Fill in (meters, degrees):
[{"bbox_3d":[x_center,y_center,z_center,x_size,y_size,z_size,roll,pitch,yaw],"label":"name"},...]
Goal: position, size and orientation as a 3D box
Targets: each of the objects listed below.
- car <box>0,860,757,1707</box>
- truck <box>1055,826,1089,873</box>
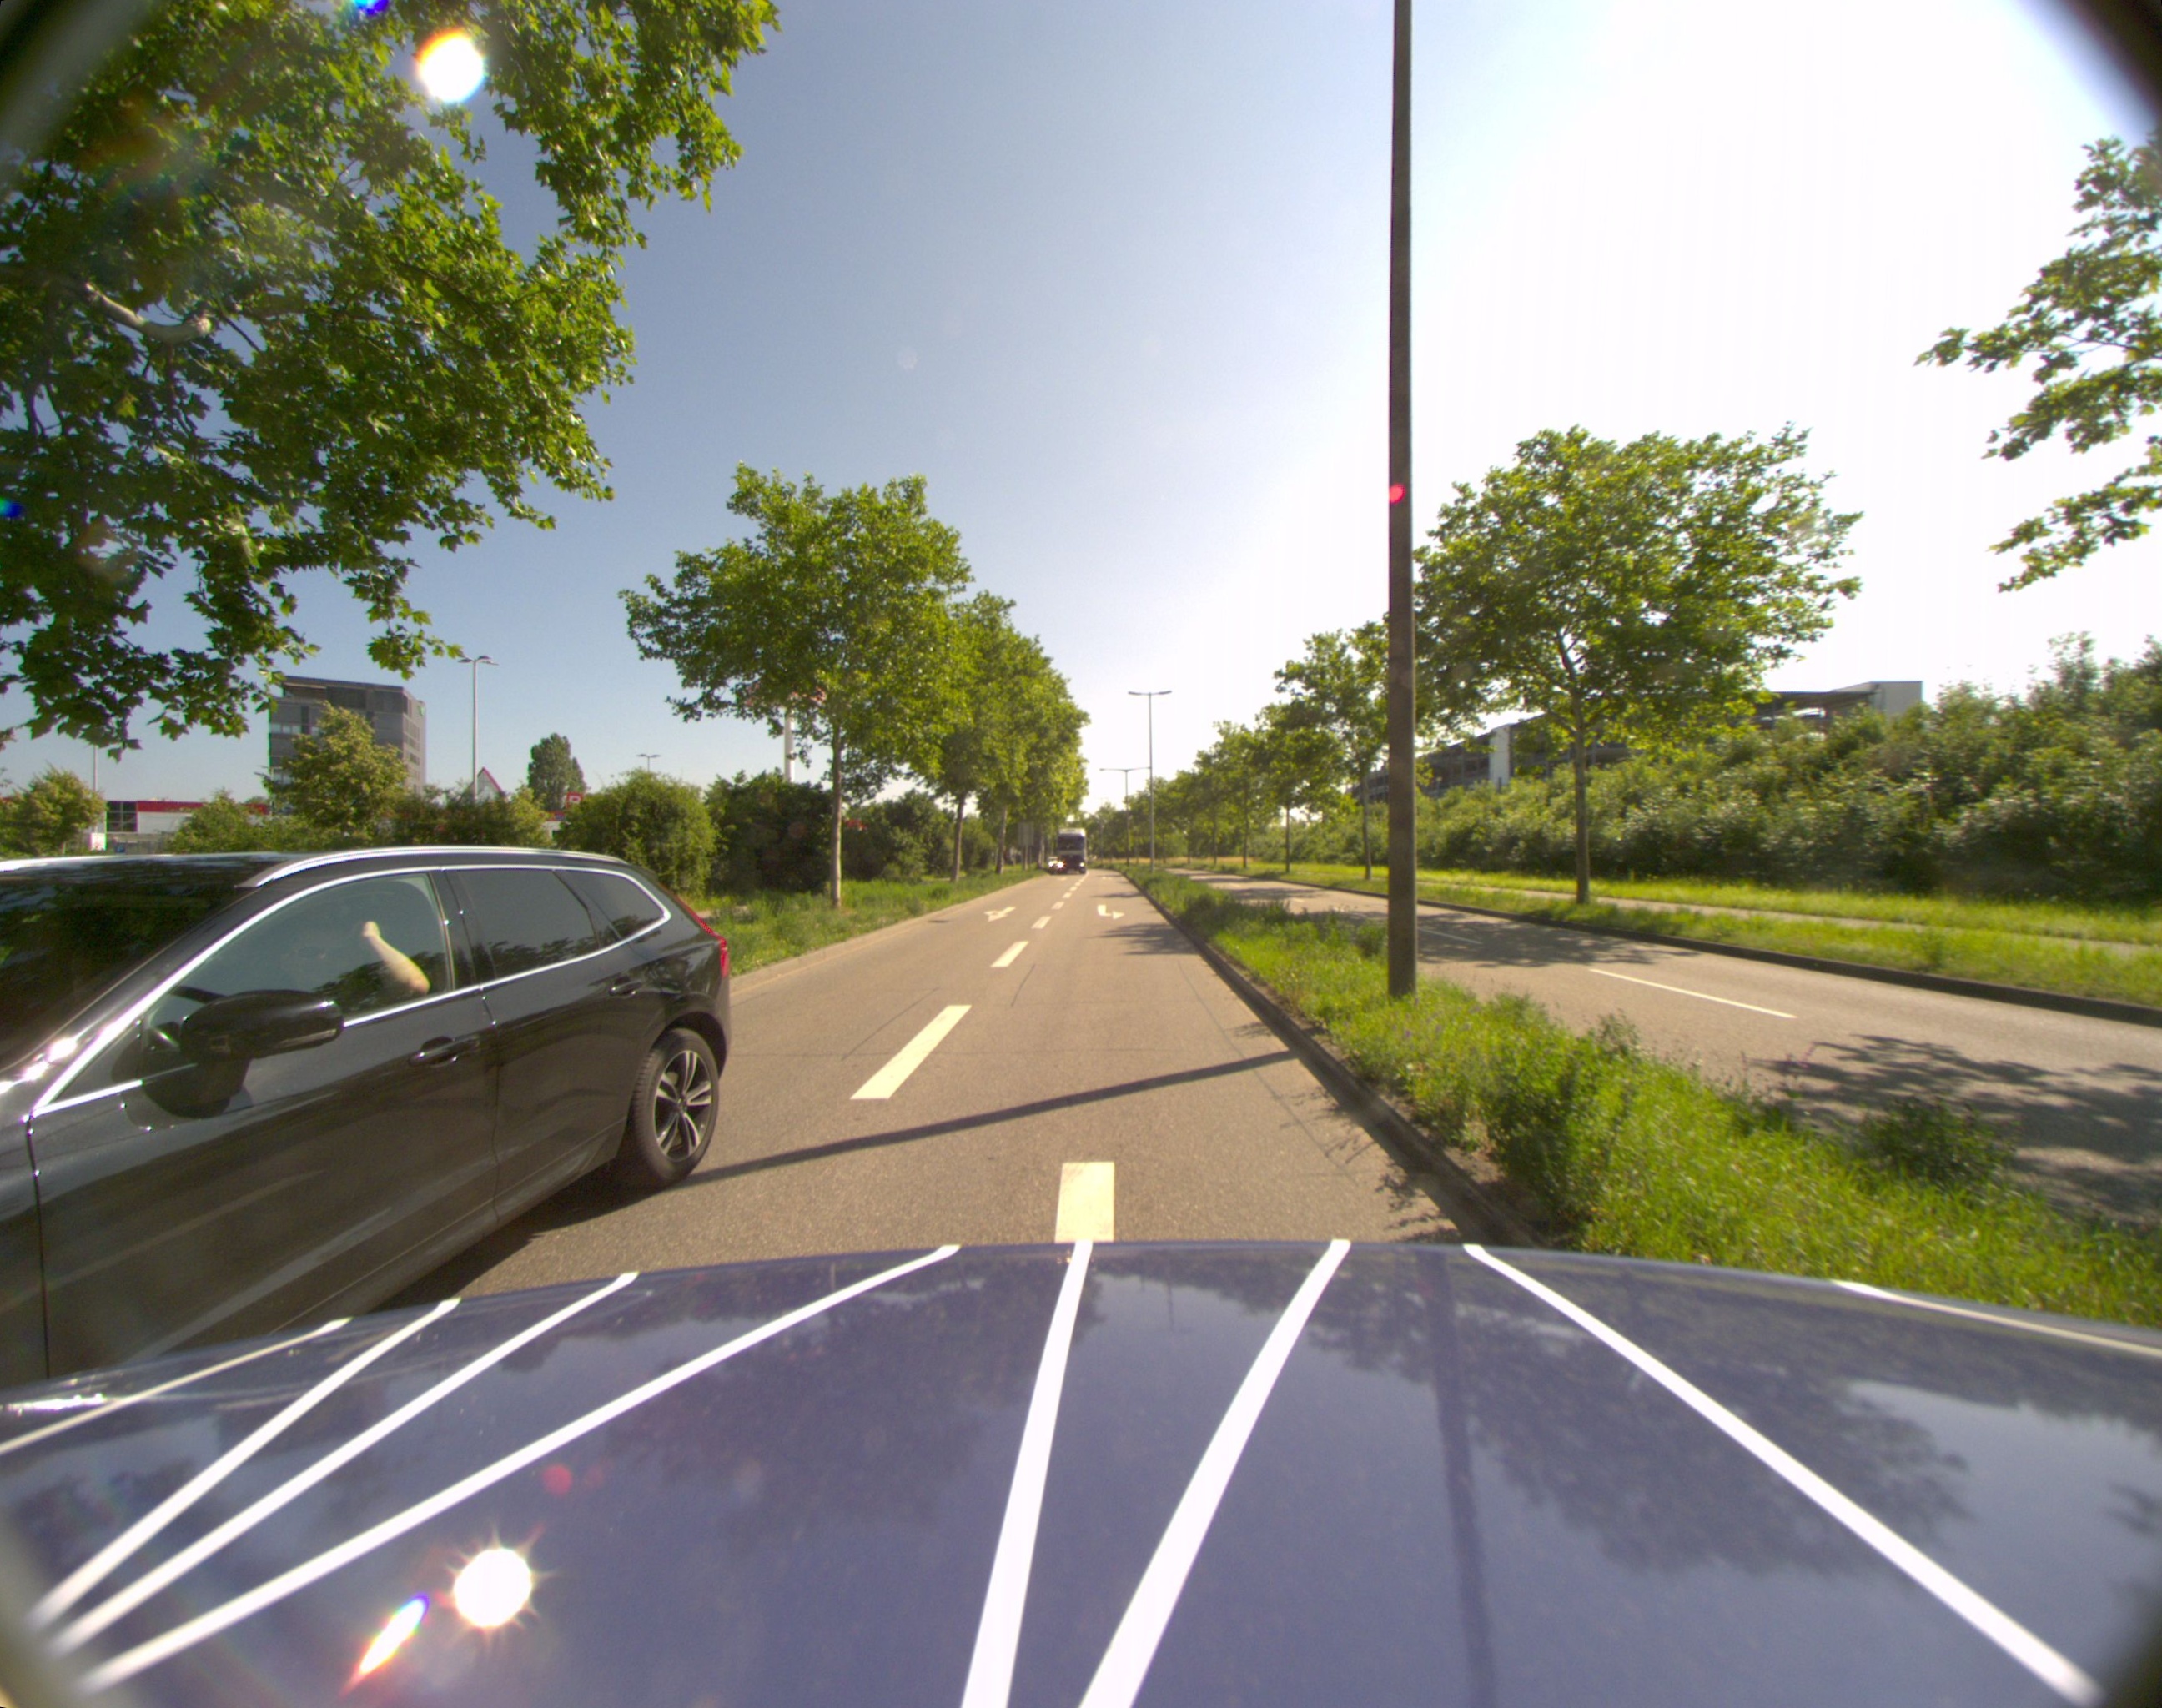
[{"bbox_3d":[-2.887,0.886,2.111,1.924,1.613,4.564,-2,1,1],"label":"car"},{"bbox_3d":[-0.756,-0.397,67.344,2.741,3.872,5.851,-2,1,1],"label":"truck"}]
